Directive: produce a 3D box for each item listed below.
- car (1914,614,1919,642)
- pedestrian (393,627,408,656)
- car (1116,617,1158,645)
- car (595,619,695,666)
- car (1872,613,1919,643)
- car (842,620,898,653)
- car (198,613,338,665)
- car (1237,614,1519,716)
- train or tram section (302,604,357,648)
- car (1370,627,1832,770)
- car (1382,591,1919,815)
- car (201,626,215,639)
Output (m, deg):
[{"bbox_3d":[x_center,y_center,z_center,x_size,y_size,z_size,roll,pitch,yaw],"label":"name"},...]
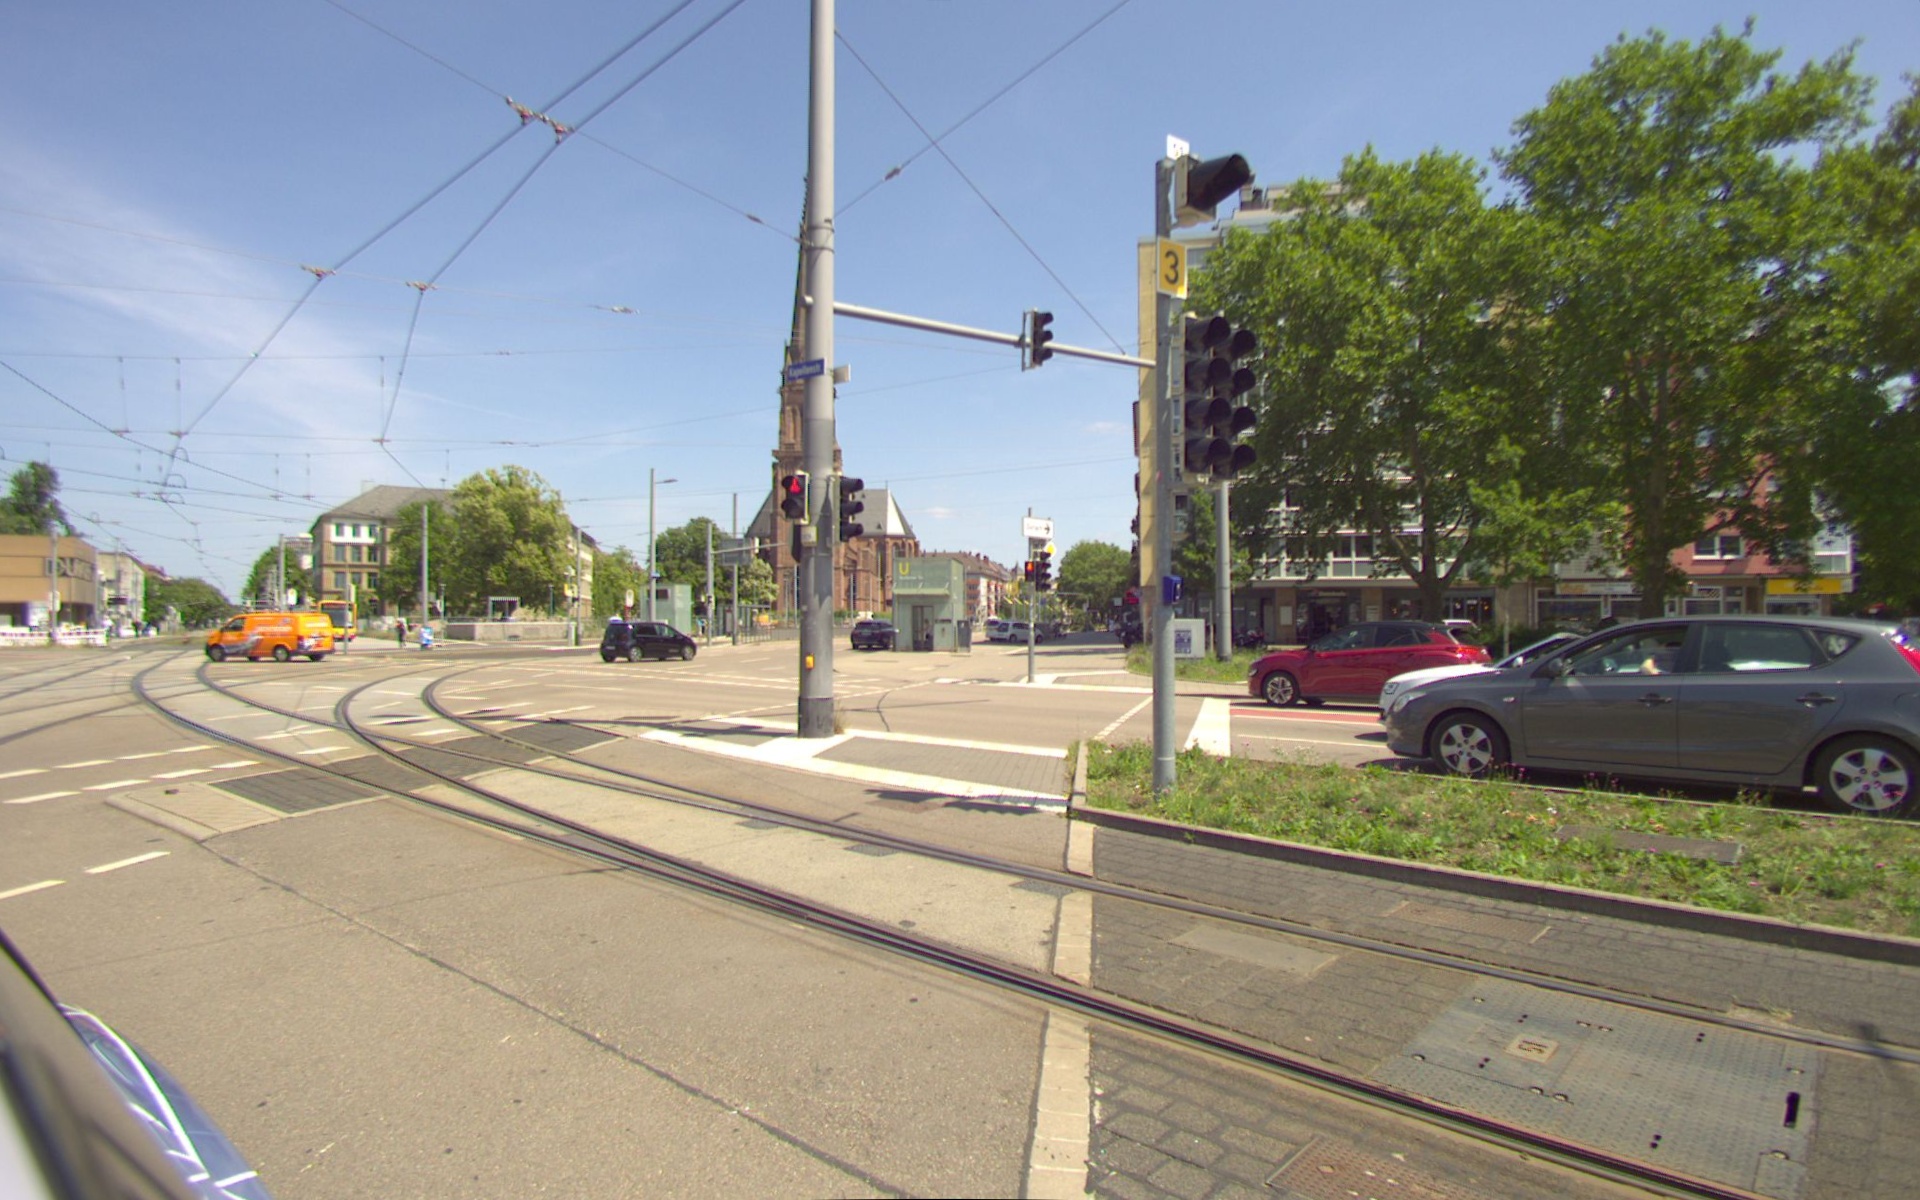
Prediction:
[{"bbox_3d":[51.569,1.450,52.991,1.274,1.497,3.181,-1,-1,23],"label":"car"},{"bbox_3d":[-32.838,2.441,59.398,0.447,1.684,0.650,-1,-2,27],"label":"pedestrian"},{"bbox_3d":[7.945,1.385,45.453,1.956,1.163,0.504,-2,0,-30],"label":"car"},{"bbox_3d":[-11.356,1.507,36.659,1.332,1.586,3.346,-1,-1,35],"label":"car"},{"bbox_3d":[49.201,1.448,52.680,1.575,1.497,3.181,-1,-1,23],"label":"car"},{"bbox_3d":[-4.448,1.804,50.613,1.761,1.541,3.985,-1,-1,12],"label":"car"},{"bbox_3d":[-27.740,1.560,40.639,4.544,2.029,1.994,-1,-1,10],"label":"car"},{"bbox_3d":[7.298,1.106,17.997,4.399,1.610,1.517,-2,-4,43],"label":"car"},{"bbox_3d":[-49.413,2.043,79.239,2.798,3.238,9.128,1,-2,-37],"label":"train or tram section"},{"bbox_3d":[7.089,0.985,11.489,4.203,1.309,1.688,-1,-3,43],"label":"car"},{"bbox_3d":[6.052,0.753,8.410,4.331,1.491,1.822,-2,-3,44],"label":"car"},{"bbox_3d":[-99.202,4.250,133.478,1.418,1.608,4.008,1,-2,-37],"label":"car"}]
